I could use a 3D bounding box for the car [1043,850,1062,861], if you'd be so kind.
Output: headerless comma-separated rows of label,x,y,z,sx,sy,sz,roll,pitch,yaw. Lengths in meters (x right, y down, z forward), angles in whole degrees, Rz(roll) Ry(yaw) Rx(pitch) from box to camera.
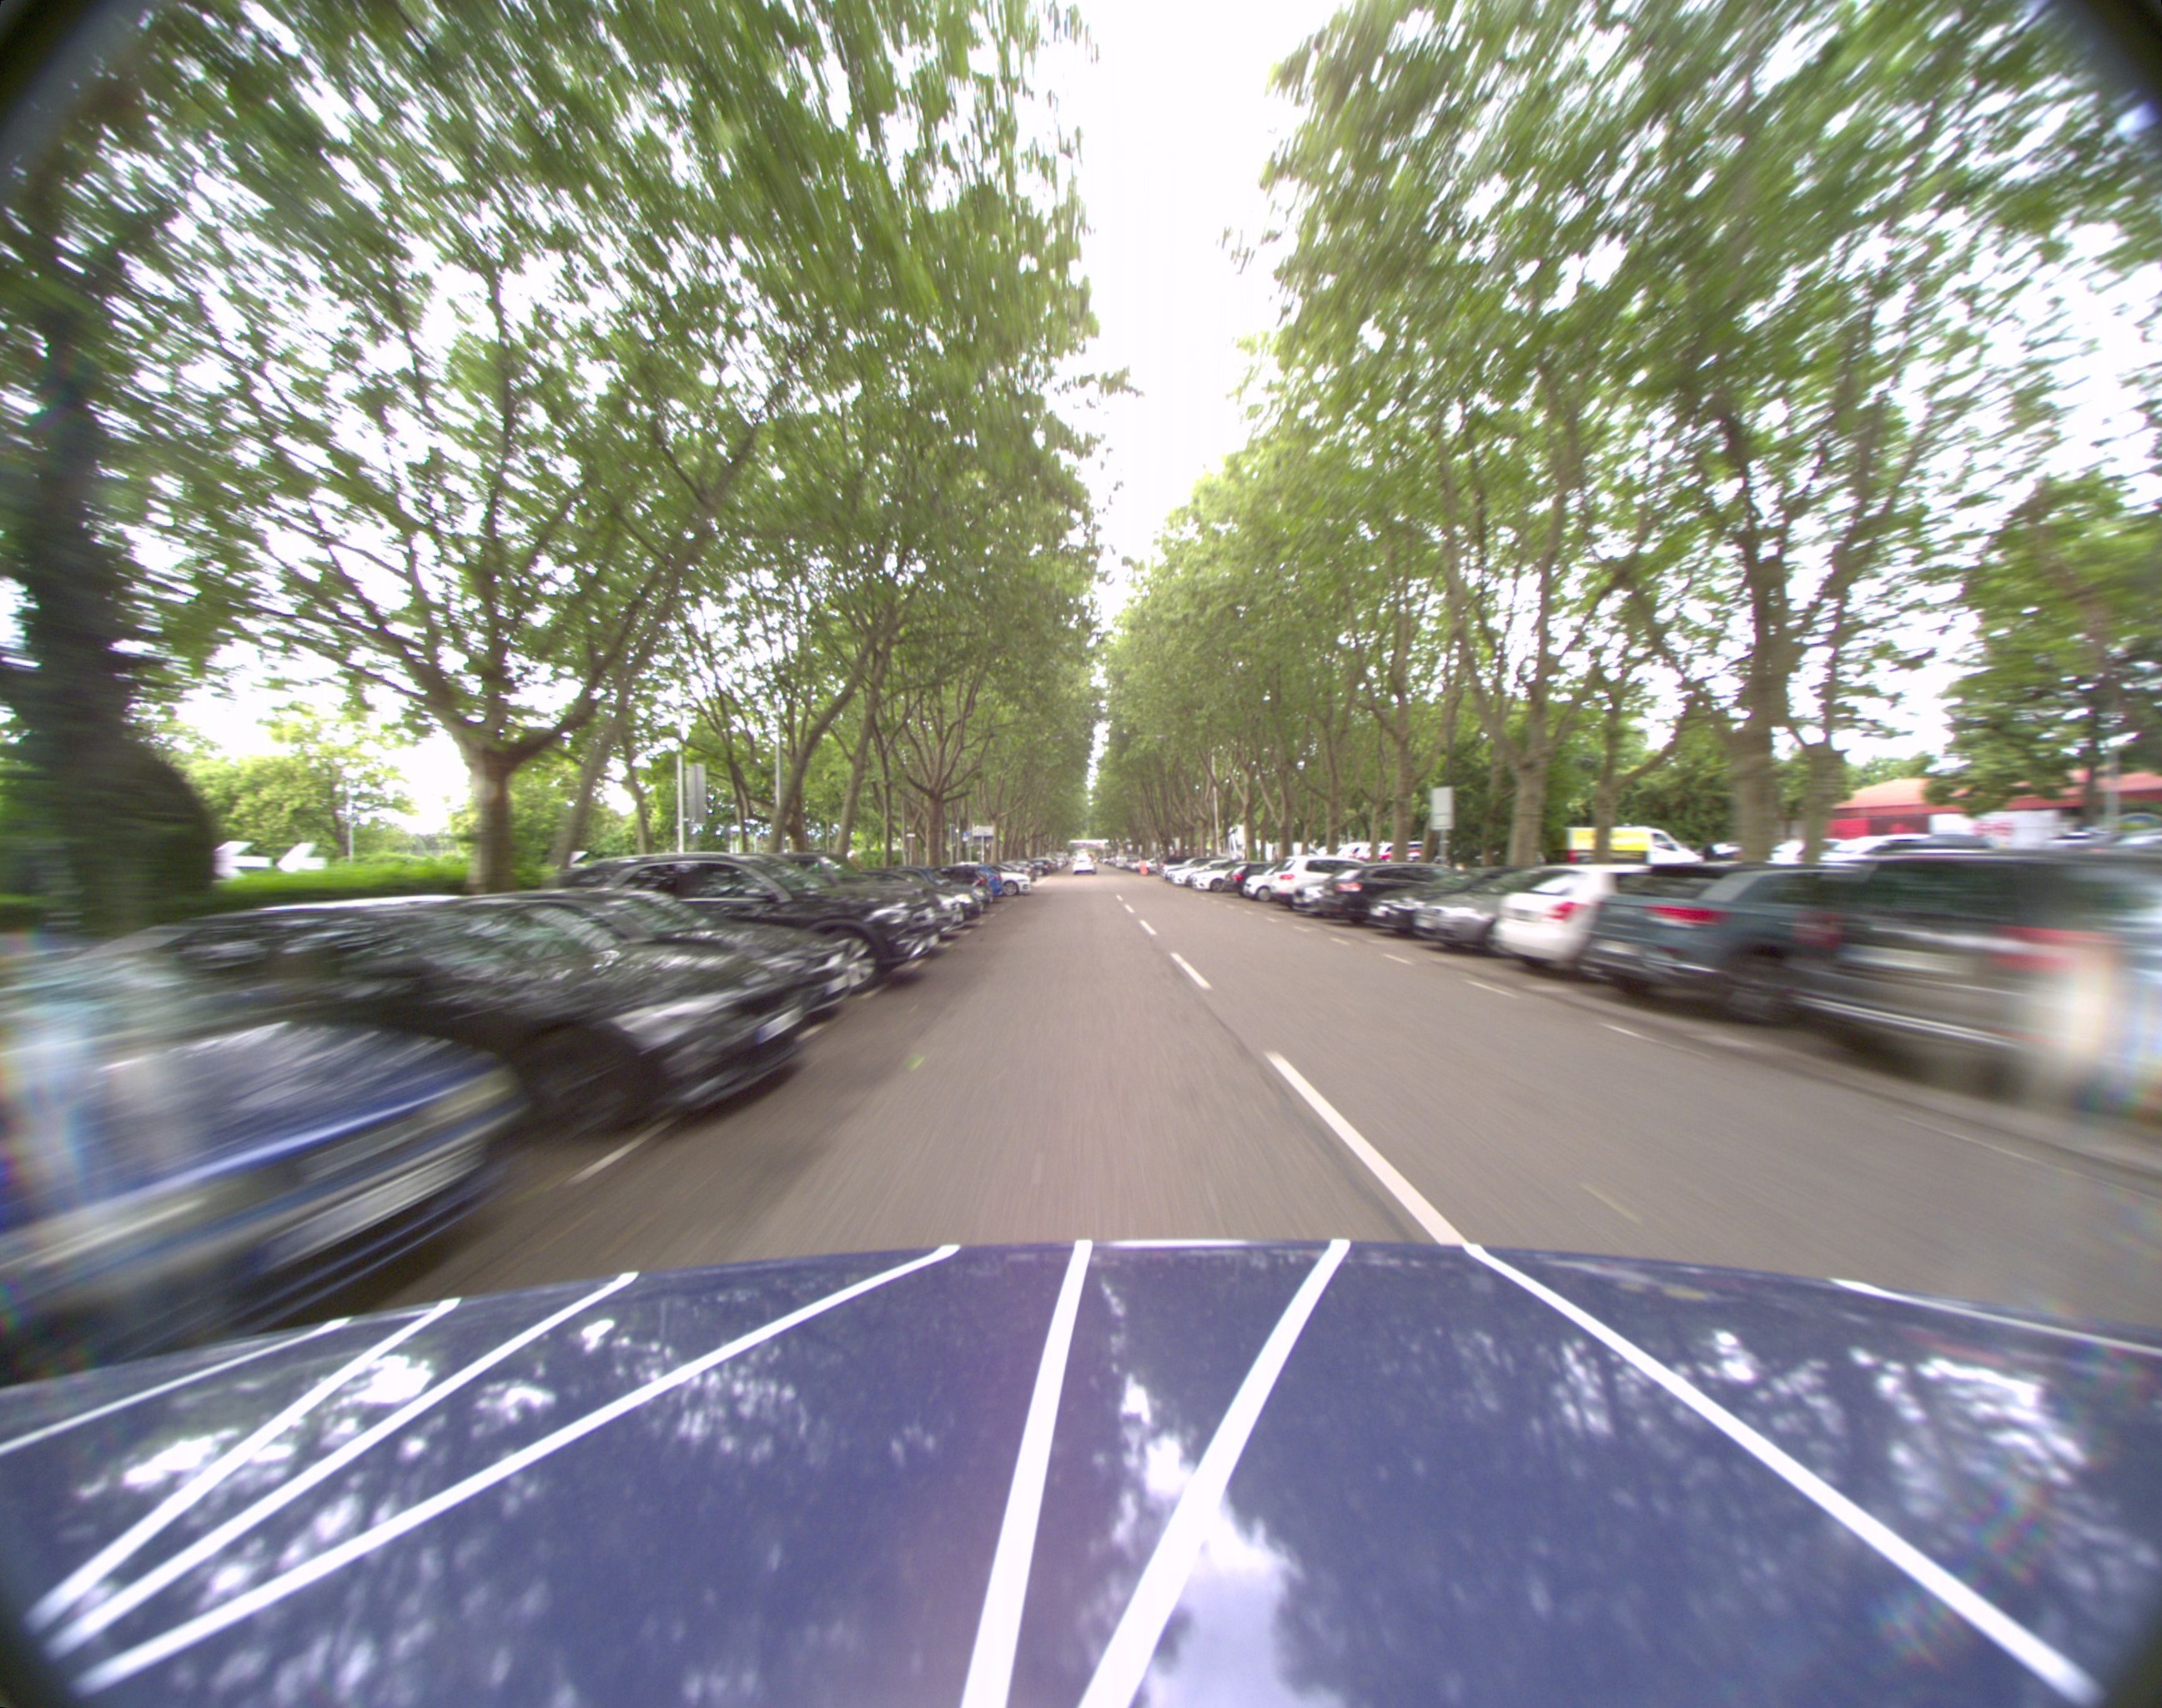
car,-6.071,0.368,162.387,3.997,2.273,2.000,-2,1,0

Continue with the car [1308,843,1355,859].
car,34.151,-0.388,103.713,5.467,2.009,2.393,-2,1,-2

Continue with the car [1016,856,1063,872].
car,-4.485,1.070,82.469,4.674,1.514,2.001,-3,0,5

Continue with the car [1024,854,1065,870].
car,-4.404,0.980,92.360,4.674,1.602,2.001,-3,0,5

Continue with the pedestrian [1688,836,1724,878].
pedestrian,27.697,0.135,33.688,0.819,1.790,0.918,-2,1,1

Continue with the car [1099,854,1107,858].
car,6.314,0.641,220.698,2.307,0.919,1.132,-2,-2,-1

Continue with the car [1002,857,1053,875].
car,-4.659,1.035,66.785,4.383,1.469,1.999,-2,1,-2

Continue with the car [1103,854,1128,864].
car,5.877,0.856,129.902,3.999,1.422,2.000,-2,-2,-6

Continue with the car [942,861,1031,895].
car,-4.358,1.084,35.384,3.840,1.409,1.718,-2,0,1

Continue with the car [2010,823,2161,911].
car,22.952,0.278,15.931,4.565,1.710,1.999,1,0,-2

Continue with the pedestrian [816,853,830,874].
pedestrian,-20.038,0.735,58.971,0.724,1.558,0.698,-2,1,7

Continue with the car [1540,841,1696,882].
car,23.520,0.316,33.416,5.362,1.587,2.094,-2,1,-1

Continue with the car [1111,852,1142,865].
car,6.866,0.702,113.859,4.491,1.740,2.001,-3,0,5

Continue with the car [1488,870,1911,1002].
car,7.780,0.982,9.907,4.001,1.477,1.704,1,0,5

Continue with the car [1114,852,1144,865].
car,7.475,0.645,117.303,4.491,1.740,2.001,-3,0,5

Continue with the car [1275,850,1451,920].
car,7.426,0.792,20.296,3.996,1.672,1.855,-2,1,1

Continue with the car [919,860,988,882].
car,-8.430,1.122,50.565,4.288,1.453,1.784,0,0,-2

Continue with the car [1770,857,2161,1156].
car,7.503,0.894,5.240,3.941,1.698,1.752,1,0,-1

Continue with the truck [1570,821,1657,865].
truck,35.038,-0.712,50.074,3.997,2.701,2.376,-2,1,-1

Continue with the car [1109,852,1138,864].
car,7.527,0.736,134.688,4.919,1.817,2.000,-2,-2,-3

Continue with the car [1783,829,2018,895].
car,23.008,0.223,21.464,4.565,1.710,1.999,1,0,-2

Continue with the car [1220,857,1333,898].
car,7.625,0.899,29.921,3.996,1.445,1.855,-2,1,1

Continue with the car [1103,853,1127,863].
car,7.032,0.771,157.737,4.919,1.817,2.000,-2,-2,-3

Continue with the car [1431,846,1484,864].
car,34.395,0.068,69.489,3.998,1.478,1.800,-2,1,-4

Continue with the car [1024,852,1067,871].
car,-4.062,0.876,87.423,4.674,1.891,2.001,-3,0,5

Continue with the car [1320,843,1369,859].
car,34.426,-0.359,99.403,5.467,2.009,2.393,1,0,-2

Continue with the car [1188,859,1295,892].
car,7.348,0.961,34.998,4.421,1.435,2.046,1,0,-6

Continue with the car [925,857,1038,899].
car,-4.249,1.006,32.985,4.535,1.613,2.054,-2,0,1

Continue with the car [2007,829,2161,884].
car,33.029,0.050,24.564,3.998,1.617,1.999,-2,1,-4

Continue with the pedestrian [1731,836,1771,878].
pedestrian,29.512,0.130,33.492,0.944,1.790,0.918,-2,1,1

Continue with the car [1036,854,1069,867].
car,-4.341,1.037,116.640,4.674,1.740,2.001,-3,0,5

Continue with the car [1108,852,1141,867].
car,6.170,0.787,107.632,4.491,1.740,2.001,-3,0,5

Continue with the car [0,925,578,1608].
car,-4.693,1.136,2.747,4.506,1.411,1.829,-2,0,2

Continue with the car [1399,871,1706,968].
car,7.575,1.022,12.473,4.004,1.412,1.703,1,0,-1

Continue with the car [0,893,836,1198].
car,-4.248,1.112,5.109,4.506,1.420,1.932,-2,0,1

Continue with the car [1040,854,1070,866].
car,-4.357,1.042,127.497,4.674,1.740,2.001,-3,0,5

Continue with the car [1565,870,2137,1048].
car,7.423,0.955,7.670,3.940,1.507,1.728,1,0,2

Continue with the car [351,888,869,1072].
car,-4.379,1.149,7.511,3.993,1.382,1.739,-2,0,2

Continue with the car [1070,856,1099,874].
car,0.247,0.889,64.952,1.999,1.375,4.677,-3,0,-5

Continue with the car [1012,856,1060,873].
car,-4.721,1.121,80.173,4.673,1.514,2.001,-3,0,6

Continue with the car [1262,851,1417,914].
car,7.630,0.817,22.720,3.996,1.672,1.855,-2,1,1
